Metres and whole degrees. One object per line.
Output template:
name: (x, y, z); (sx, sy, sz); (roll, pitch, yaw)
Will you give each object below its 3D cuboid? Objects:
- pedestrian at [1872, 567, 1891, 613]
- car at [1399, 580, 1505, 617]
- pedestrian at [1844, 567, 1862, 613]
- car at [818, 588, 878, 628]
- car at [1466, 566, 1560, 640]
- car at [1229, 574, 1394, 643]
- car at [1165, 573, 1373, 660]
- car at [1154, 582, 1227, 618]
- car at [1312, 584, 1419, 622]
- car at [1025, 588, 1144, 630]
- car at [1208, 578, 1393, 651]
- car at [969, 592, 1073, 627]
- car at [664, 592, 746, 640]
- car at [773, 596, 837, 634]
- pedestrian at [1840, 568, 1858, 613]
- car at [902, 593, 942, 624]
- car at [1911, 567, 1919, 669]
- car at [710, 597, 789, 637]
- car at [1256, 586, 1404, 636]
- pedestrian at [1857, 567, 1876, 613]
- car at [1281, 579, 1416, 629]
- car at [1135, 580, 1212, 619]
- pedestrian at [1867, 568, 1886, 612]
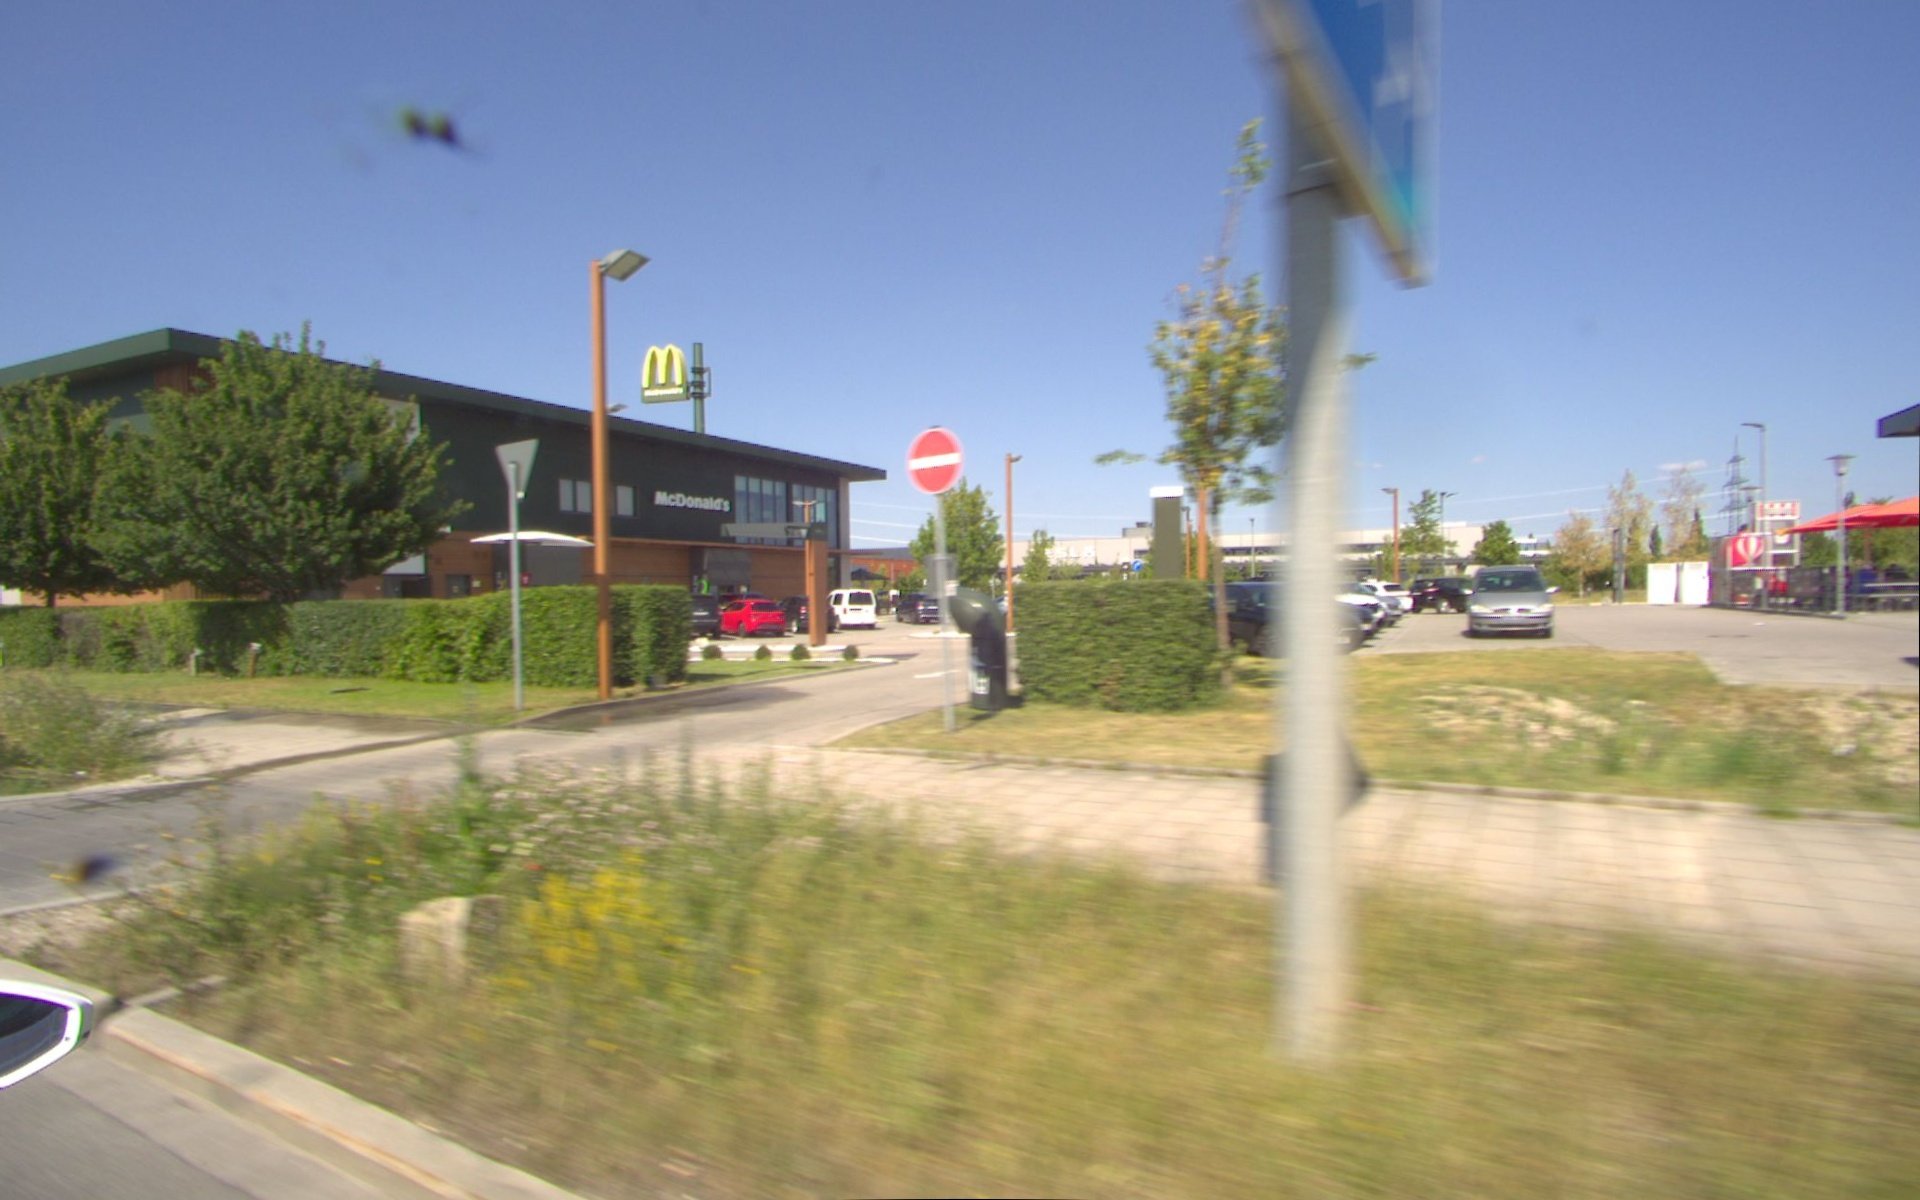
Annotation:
pedestrian: (25.525, -0.282, 27.744); (0.288, 1.257, 0.379); (-1, 1, 25)
car: (21.824, -0.062, 44.407); (4.094, 1.543, 1.788); (-1, 1, -16)
pedestrian: (24.963, -0.274, 27.994); (0.288, 1.257, 0.379); (-1, 1, 25)
car: (-5.229, 0.342, 46.328); (1.768, 1.724, 3.988); (-2, 0, -22)
car: (13.505, 0.057, 24.654); (1.762, 1.657, 4.154); (-1, 0, 25)
car: (8.938, 0.193, 25.852); (1.761, 1.600, 4.158); (-1, 0, -20)
car: (5.836, 0.287, 19.469); (1.674, 1.481, 4.158); (-1, 0, -20)
car: (12.071, -0.011, 52.671); (1.761, 1.781, 4.158); (-1, 0, -20)
car: (16.718, 0.133, 41.461); (1.761, 1.470, 4.158); (-1, 0, -20)
car: (4.545, 0.326, 36.665); (3.929, 1.391, 1.795); (-1, 1, -17)
car: (7.570, 0.298, 22.705); (1.761, 1.481, 4.158); (-1, 0, -20)
car: (2.628, 0.392, 43.250); (4.106, 1.391, 1.795); (-1, 1, -17)
car: (-9.499, 0.573, 37.168); (1.774, 1.626, 3.976); (-2, 1, -32)
car: (-6.680, 0.619, 42.968); (1.769, 1.533, 3.987); (-2, 0, -23)
pedestrian: (25.441, -0.276, 28.648); (0.288, 1.257, 0.379); (-1, 1, 25)
car: (-2.030, 0.432, 52.356); (1.764, 1.541, 3.998); (-1, 0, -7)
car: (14.107, 0.294, 12.945); (1.843, 1.510, 4.513); (0, 1, 33)
car: (-8.405, 0.661, 39.745); (1.774, 1.453, 3.976); (-2, 0, -32)
car: (10.609, 0.292, 29.048); (1.761, 1.315, 4.158); (-1, 0, -20)
pedestrian: (25.240, -0.278, 27.877); (0.288, 1.257, 0.379); (-1, 1, 25)
car: (12.466, 0.132, 32.381); (1.761, 1.470, 4.158); (-1, 0, -20)
car: (10.526, -0.018, 49.614); (1.761, 1.781, 4.158); (-1, 0, -20)
pedestrian: (25.990, -0.284, 28.392); (0.288, 1.257, 0.379); (-1, 1, 25)
